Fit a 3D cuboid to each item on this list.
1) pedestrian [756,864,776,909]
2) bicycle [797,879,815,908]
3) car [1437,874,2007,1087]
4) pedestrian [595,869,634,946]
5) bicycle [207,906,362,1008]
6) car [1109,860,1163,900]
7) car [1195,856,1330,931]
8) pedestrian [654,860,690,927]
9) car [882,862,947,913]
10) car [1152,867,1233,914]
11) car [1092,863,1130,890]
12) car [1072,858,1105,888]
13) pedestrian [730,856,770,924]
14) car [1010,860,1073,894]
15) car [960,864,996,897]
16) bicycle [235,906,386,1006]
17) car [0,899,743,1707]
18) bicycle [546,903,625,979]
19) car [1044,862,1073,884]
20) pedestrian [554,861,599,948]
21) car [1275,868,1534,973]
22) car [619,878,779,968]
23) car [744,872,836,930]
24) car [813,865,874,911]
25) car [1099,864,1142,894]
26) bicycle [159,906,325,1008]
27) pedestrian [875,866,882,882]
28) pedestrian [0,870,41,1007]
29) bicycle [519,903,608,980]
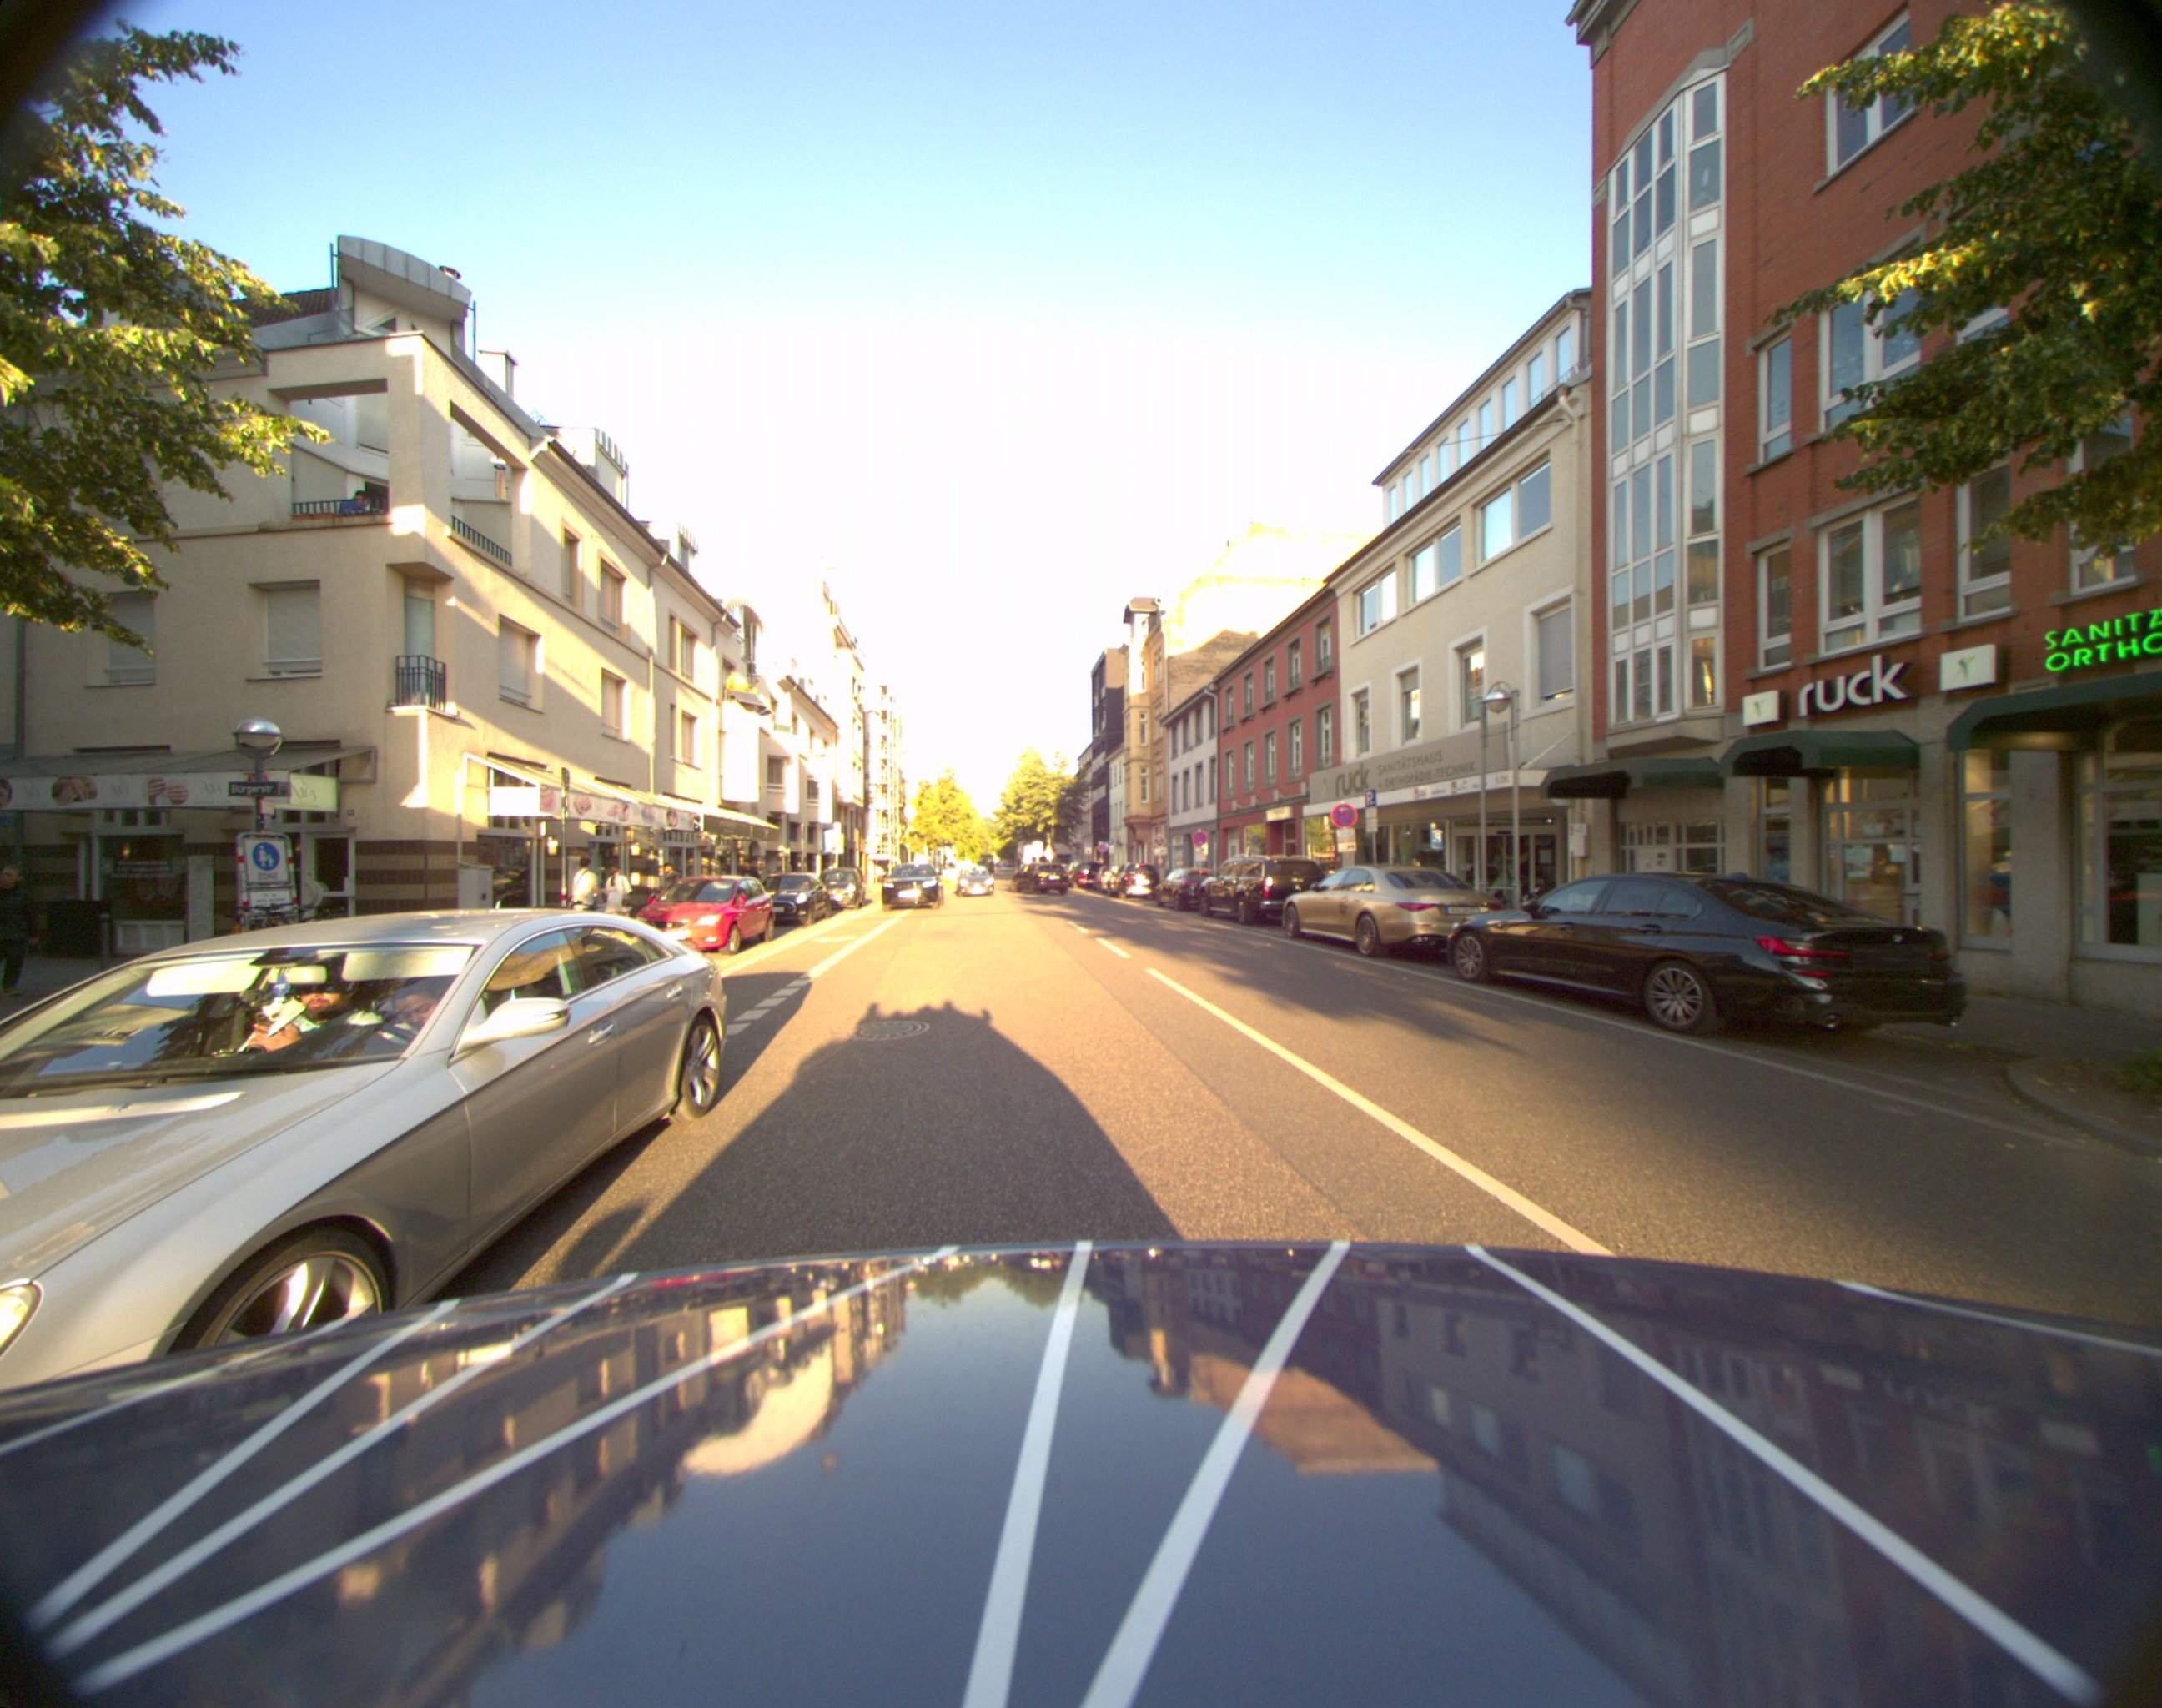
[{"bbox_3d":[-12.736,1.295,30.754,0.576,1.789,0.450,-2,1,-7],"label":"pedestrian"},{"bbox_3d":[-10.614,1.512,29.363,0.296,1.079,1.462,-1,0,-7],"label":"bicycle"},{"bbox_3d":[5.870,1.010,7.908,1.726,1.464,4.538,2,-1,-7],"label":"car"},{"bbox_3d":[-9.848,1.124,16.045,0.521,1.583,0.408,2,0,-8],"label":"pedestrian"},{"bbox_3d":[-10.610,1.321,10.215,0.291,1.098,1.886,-1,0,-7],"label":"bicycle"},{"bbox_3d":[2.476,1.146,35.075,1.726,1.673,4.047,2,-1,-6],"label":"car"},{"bbox_3d":[4.654,0.965,20.346,1.726,1.768,4.935,1,-1,-9],"label":"car"},{"bbox_3d":[-10.922,1.037,20.311,0.631,1.739,0.669,0,0,-8],"label":"pedestrian"},{"bbox_3d":[-5.945,1.137,27.508,1.891,1.626,4.224,-2,0,-8],"label":"car"},{"bbox_3d":[3.785,1.217,26.535,1.707,1.429,4.012,2,-1,-8],"label":"car"},{"bbox_3d":[1.700,1.285,44.103,1.674,1.448,3.563,2,-1,-6],"label":"car"},{"bbox_3d":[0.447,1.147,47.899,1.674,1.763,3.563,2,-1,-6],"label":"car"},{"bbox_3d":[-9.527,1.022,21.900,0.779,1.872,0.669,-4,1,-8],"label":"pedestrian"},{"bbox_3d":[-2.091,1.128,39.123,1.738,1.665,4.286,0,0,-25],"label":"car"},{"bbox_3d":[-5.091,1.259,37.639,1.623,1.465,3.686,-2,0,-8],"label":"car"},{"bbox_3d":[-10.305,1.311,10.254,0.322,1.098,1.878,-1,0,-7],"label":"bicycle"},{"bbox_3d":[-3.020,1.068,3.077,1.748,1.393,4.635,-2,1,-8],"label":"car"},{"bbox_3d":[-8.000,1.373,12.331,0.315,1.040,1.664,0,0,-5],"label":"bicycle"},{"bbox_3d":[-1.628,1.335,54.867,1.674,1.512,3.562,1,0,-8],"label":"car"},{"bbox_3d":[-10.319,1.019,15.562,0.545,1.748,0.502,2,0,-8],"label":"pedestrian"},{"bbox_3d":[5.351,1.022,13.550,2.000,1.463,5.104,1,-1,-6],"label":"car"},{"bbox_3d":[-7.199,1.219,14.745,1.594,1.425,3.923,0,0,-8],"label":"car"},{"bbox_3d":[-8.192,1.274,21.734,1.622,1.425,3.923,0,0,-8],"label":"car"},{"bbox_3d":[-9.039,1.253,29.228,1.622,1.583,3.923,-1,0,-8],"label":"car"},{"bbox_3d":[2.024,1.292,40.064,1.690,1.461,3.689,2,-1,-6],"label":"car"},{"bbox_3d":[-11.097,1.312,10.140,0.322,1.098,1.878,-1,0,-7],"label":"bicycle"},{"bbox_3d":[-16.516,1.627,61.938,0.492,1.256,0.421,-2,1,-7],"label":"pedestrian"},{"bbox_3d":[-13.642,1.043,9.459,0.795,1.666,0.704,2,1,28],"label":"pedestrian"},{"bbox_3d":[-8.350,1.371,12.348,0.315,1.040,1.881,0,0,-5],"label":"bicycle"}]
